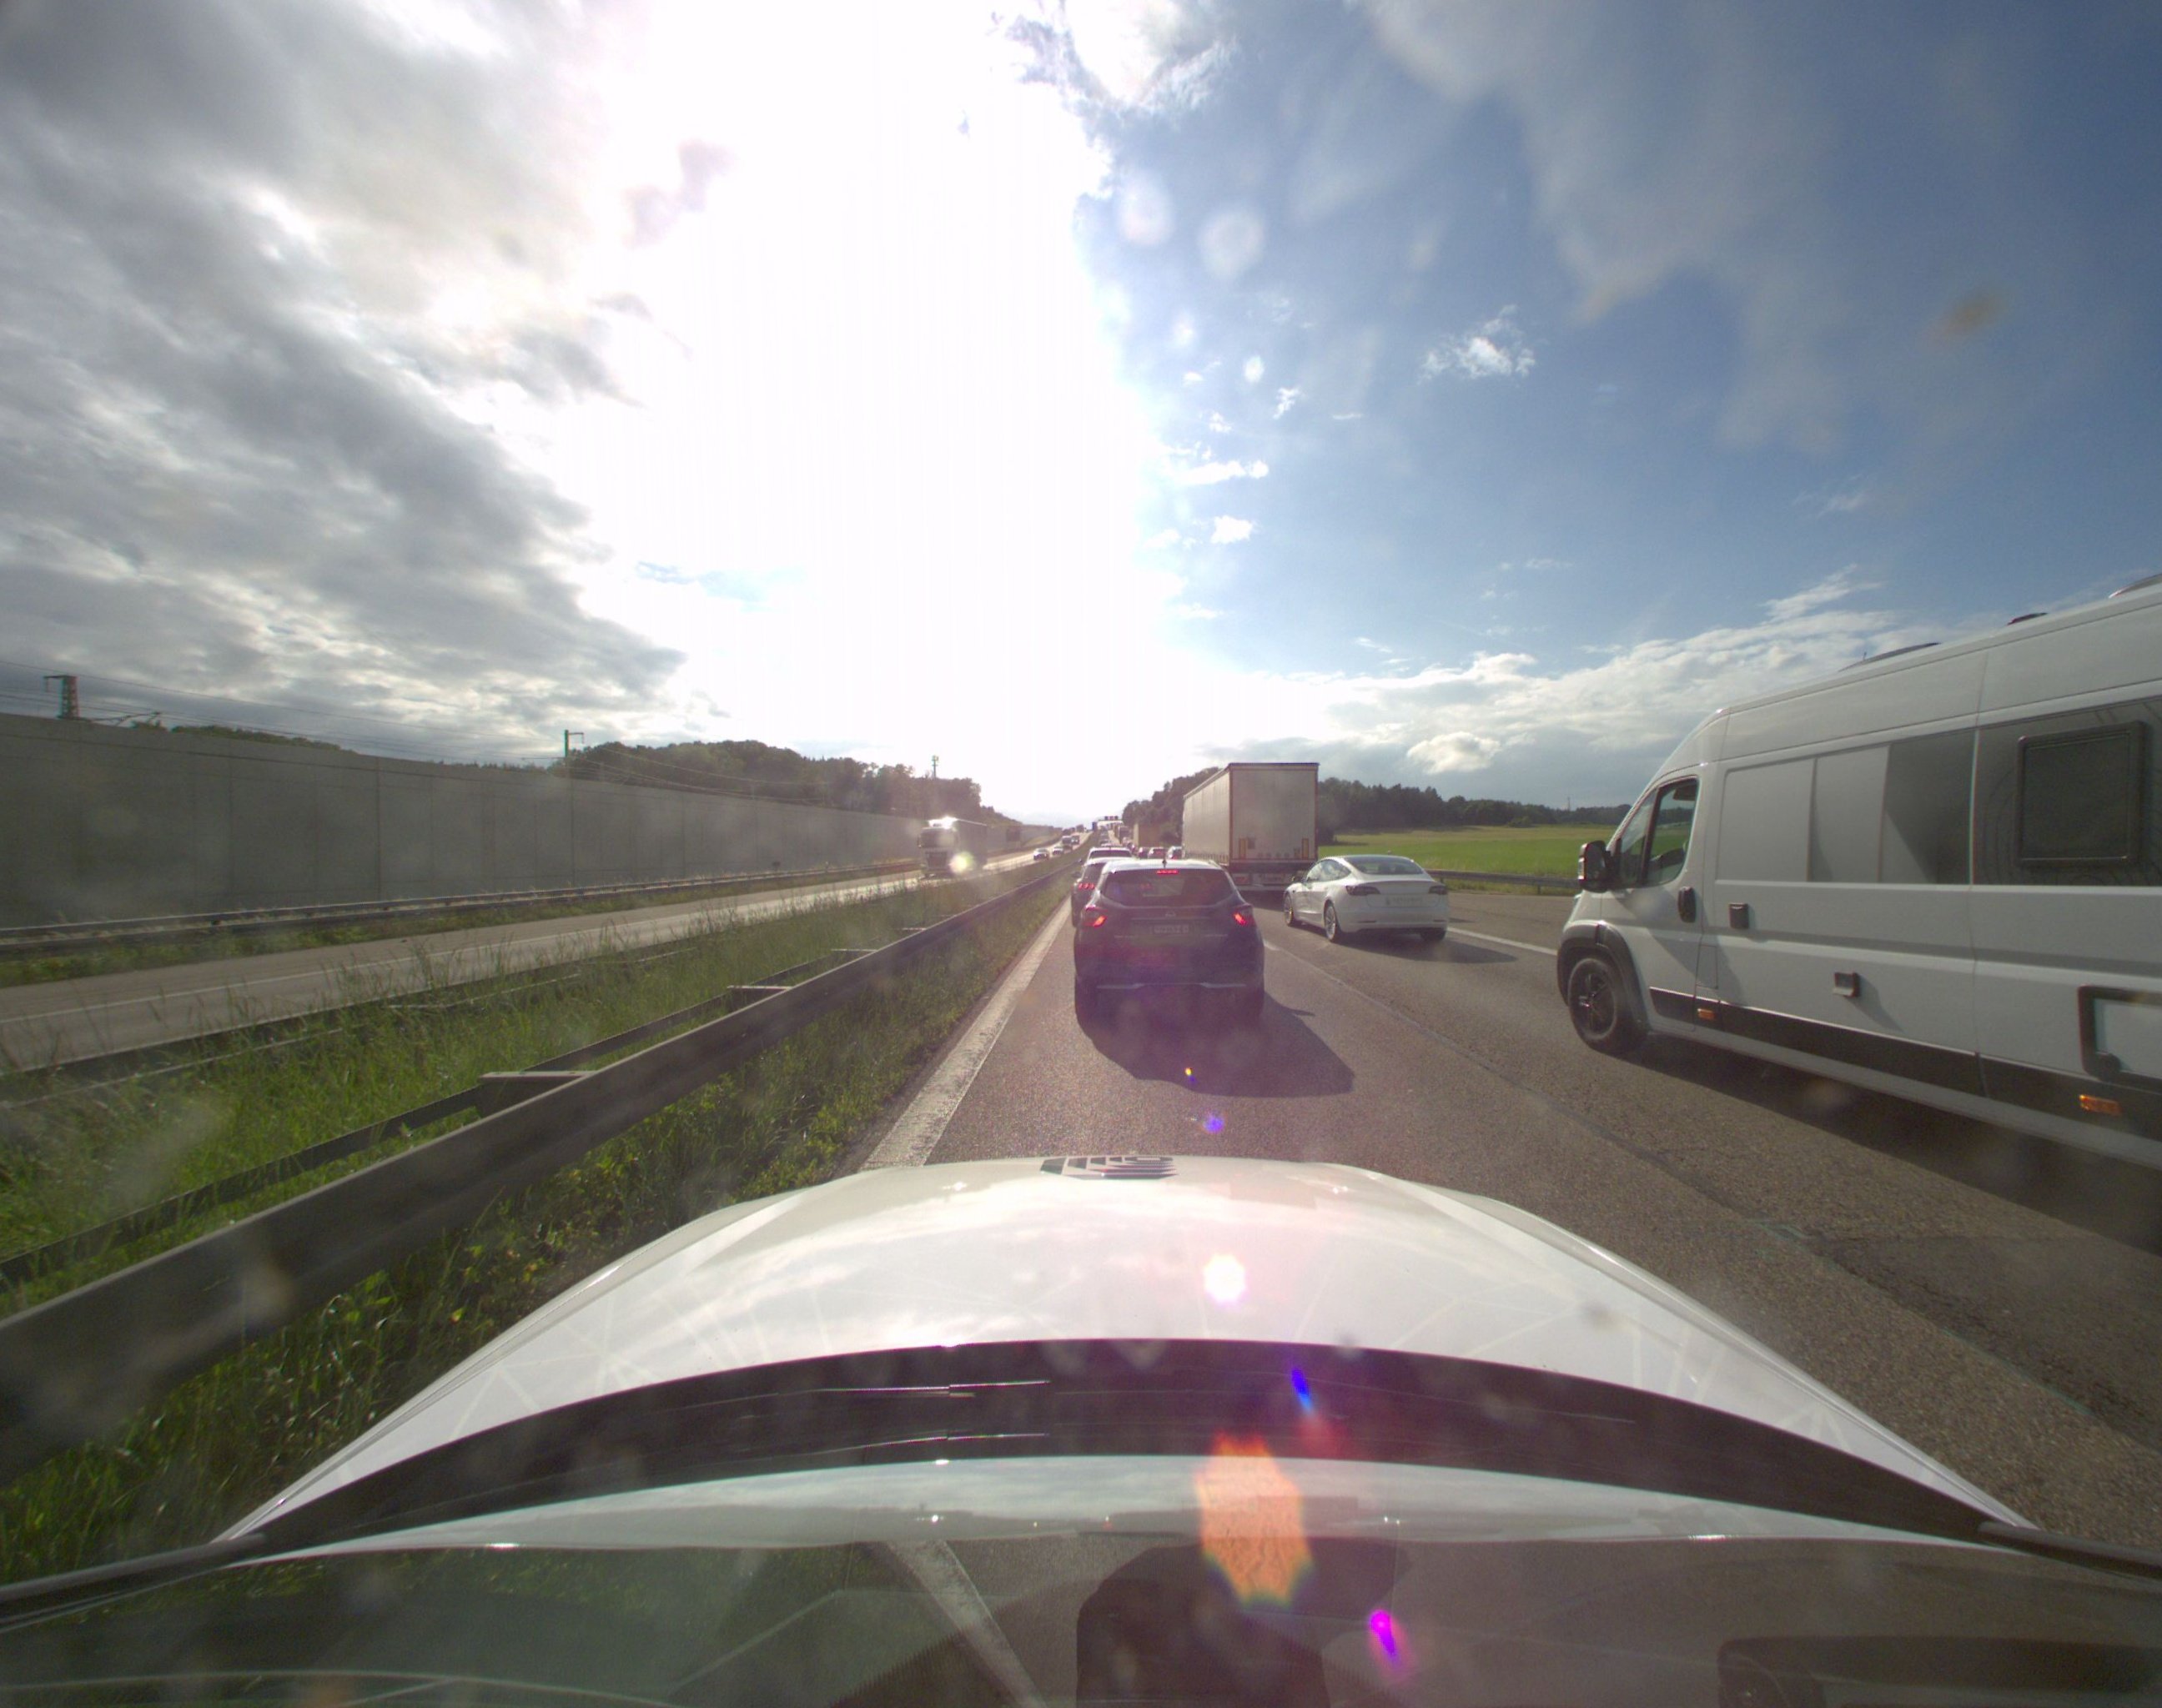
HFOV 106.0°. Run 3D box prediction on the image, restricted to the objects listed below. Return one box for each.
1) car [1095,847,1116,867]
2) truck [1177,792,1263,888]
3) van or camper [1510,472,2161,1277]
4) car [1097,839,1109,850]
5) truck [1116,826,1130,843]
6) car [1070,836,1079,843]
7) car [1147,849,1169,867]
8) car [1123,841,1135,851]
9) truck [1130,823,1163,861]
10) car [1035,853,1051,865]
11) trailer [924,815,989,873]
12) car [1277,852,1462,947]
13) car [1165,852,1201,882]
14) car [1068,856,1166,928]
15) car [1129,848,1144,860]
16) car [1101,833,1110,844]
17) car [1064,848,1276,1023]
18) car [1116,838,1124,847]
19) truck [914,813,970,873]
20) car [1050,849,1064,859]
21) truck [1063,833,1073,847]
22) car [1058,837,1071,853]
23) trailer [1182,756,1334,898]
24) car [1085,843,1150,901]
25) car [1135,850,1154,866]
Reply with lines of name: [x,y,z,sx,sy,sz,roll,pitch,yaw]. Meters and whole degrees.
car: [2.225,0.239,74.151,1.866,1.644,4.234,-1,1,2]
truck: [6.126,-0.550,36.710,3.121,4.016,5.166,0,-1,2]
van or camper: [4.742,0.058,3.865,2.207,2.681,6.335,-1,0,2]
car: [3.546,-1.592,132.835,1.867,1.644,4.233,-1,1,1]
truck: [11.818,-5.502,228.370,3.453,4.576,12.442,0,1,0]
car: [-1.608,-3.613,203.429,1.903,1.672,4.362,-1,-2,1]
car: [7.580,0.379,80.294,1.866,1.644,4.234,-1,0,2]
car: [8.569,-1.374,145.548,1.868,1.644,4.230,-1,1,-2]
truck: [8.152,-1.388,103.185,3.286,4.577,12.440,0,-1,0]
car: [-4.690,0.571,100.739,1.646,1.451,3.957,-1,0,1]
trailer: [-9.889,-0.716,66.626,2.780,4.077,13.523,-3,0,1]
car: [4.939,0.691,14.638,1.782,1.394,4.437,-1,0,1]
car: [5.876,0.720,47.189,1.691,1.610,4.440,-1,0,3]
car: [0.776,0.740,18.003,1.866,1.358,4.234,-1,0,2]
car: [7.758,-0.018,114.169,1.867,1.644,4.231,-1,0,0]
car: [5.268,-3.305,176.911,1.866,2.158,5.214,-1,3,2]
car: [0.829,0.699,9.040,1.766,1.451,4.234,-1,0,2]
car: [9.710,-2.895,202.649,1.866,2.158,5.214,-1,3,2]
truck: [-10.050,-0.758,59.500,2.766,4.088,5.533,-3,0,1]
car: [-3.769,0.012,127.593,1.866,1.451,4.234,-1,0,2]
truck: [-3.888,-4.027,237.894,2.573,3.923,5.724,-2,0,1]
car: [-3.160,-1.748,155.441,2.096,2.870,5.637,-1,0,1]
trailer: [5.845,-0.663,29.753,3.118,4.011,13.373,0,-1,2]
car: [1.144,0.537,26.069,1.866,1.644,4.234,-1,0,2]
car: [7.000,0.454,89.893,1.866,1.644,4.234,-1,0,2]
